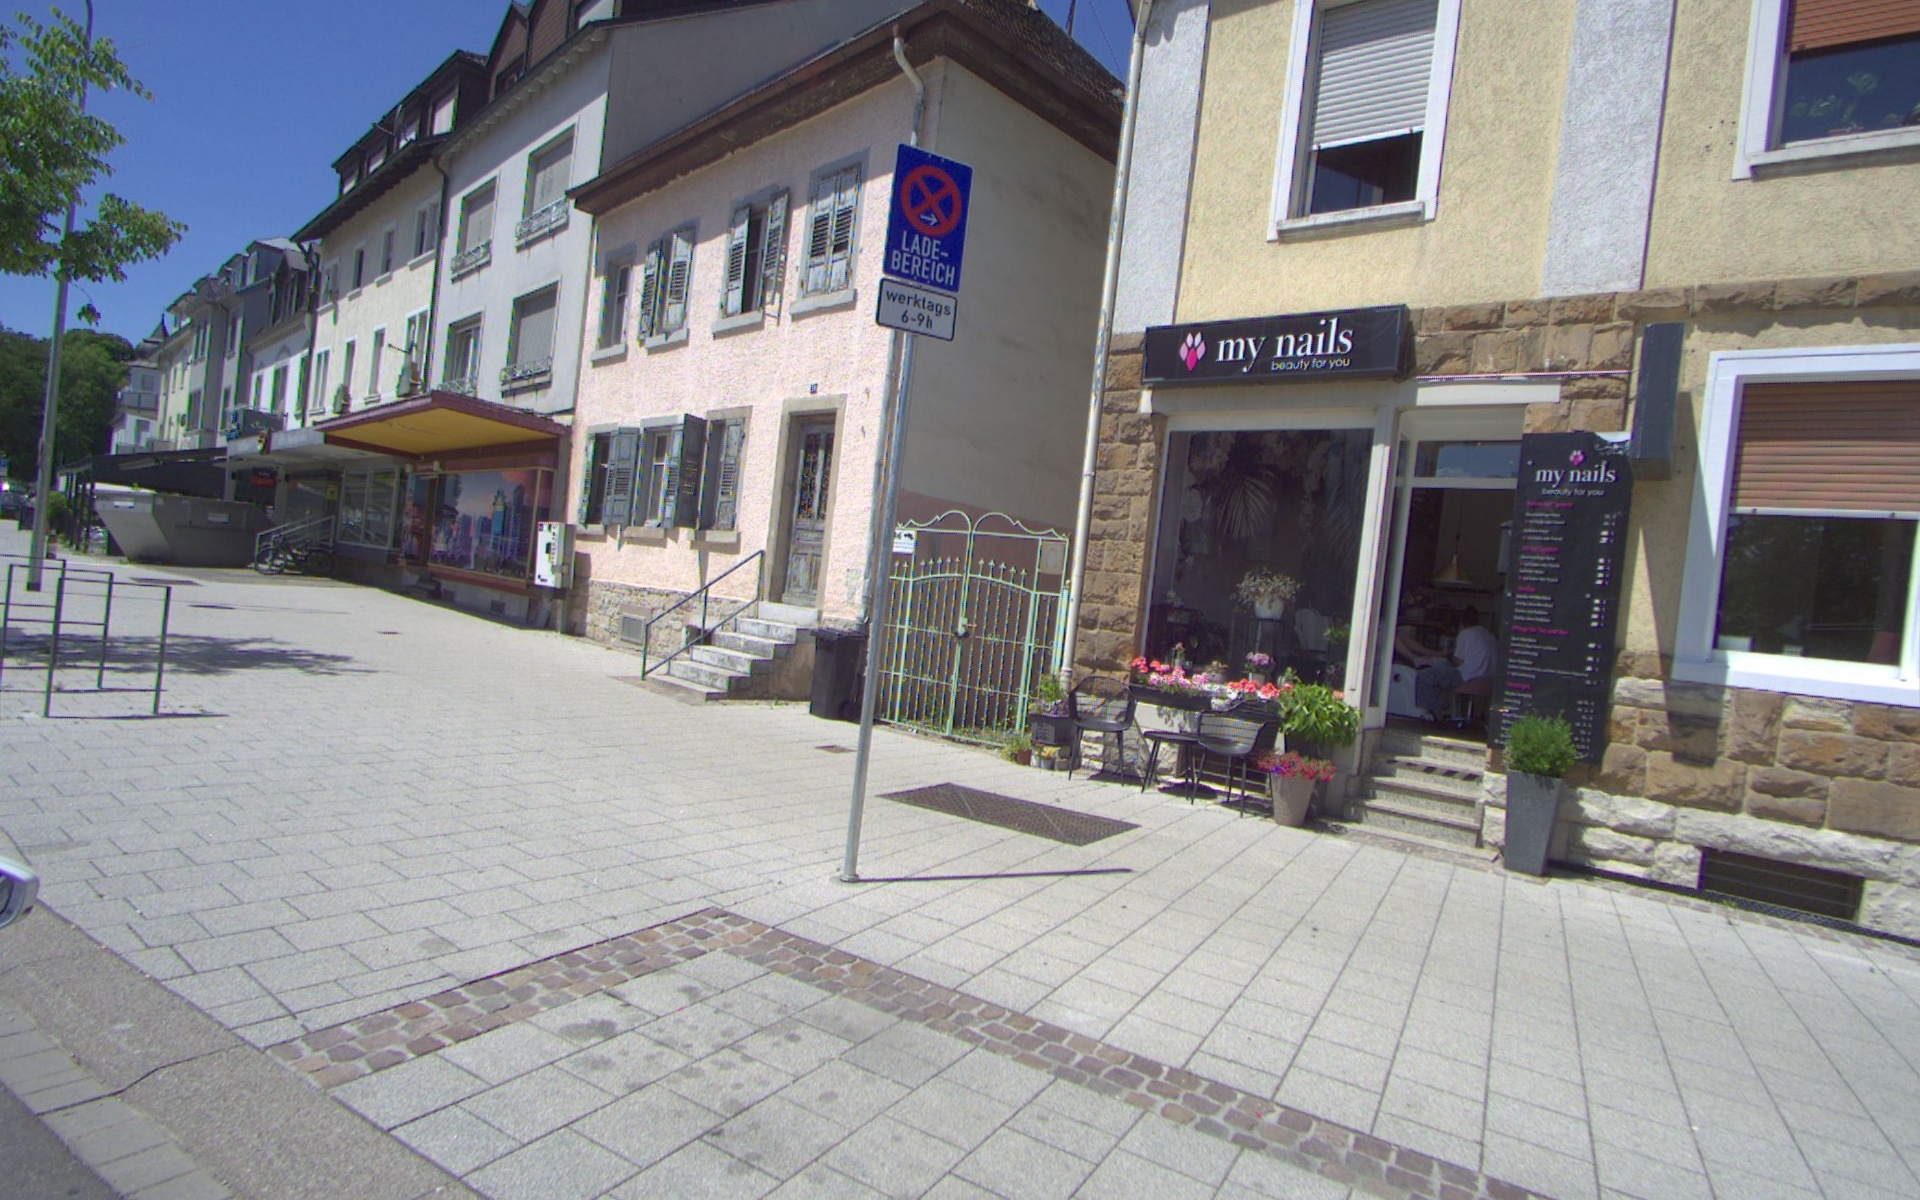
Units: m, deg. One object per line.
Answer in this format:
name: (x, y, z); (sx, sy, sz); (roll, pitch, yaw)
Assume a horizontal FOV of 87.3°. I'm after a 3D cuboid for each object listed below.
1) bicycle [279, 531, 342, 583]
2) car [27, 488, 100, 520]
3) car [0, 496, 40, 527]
bicycle: (-17.315, -1.140, 26.831); (1.263, 1.197, 0.411); (9, -2, -36)
car: (-70.374, -7.533, 79.025); (1.832, 1.735, 4.067); (7, -2, 45)
car: (-53.700, -5.014, 56.632); (1.856, 1.511, 3.830); (6, 2, -29)
